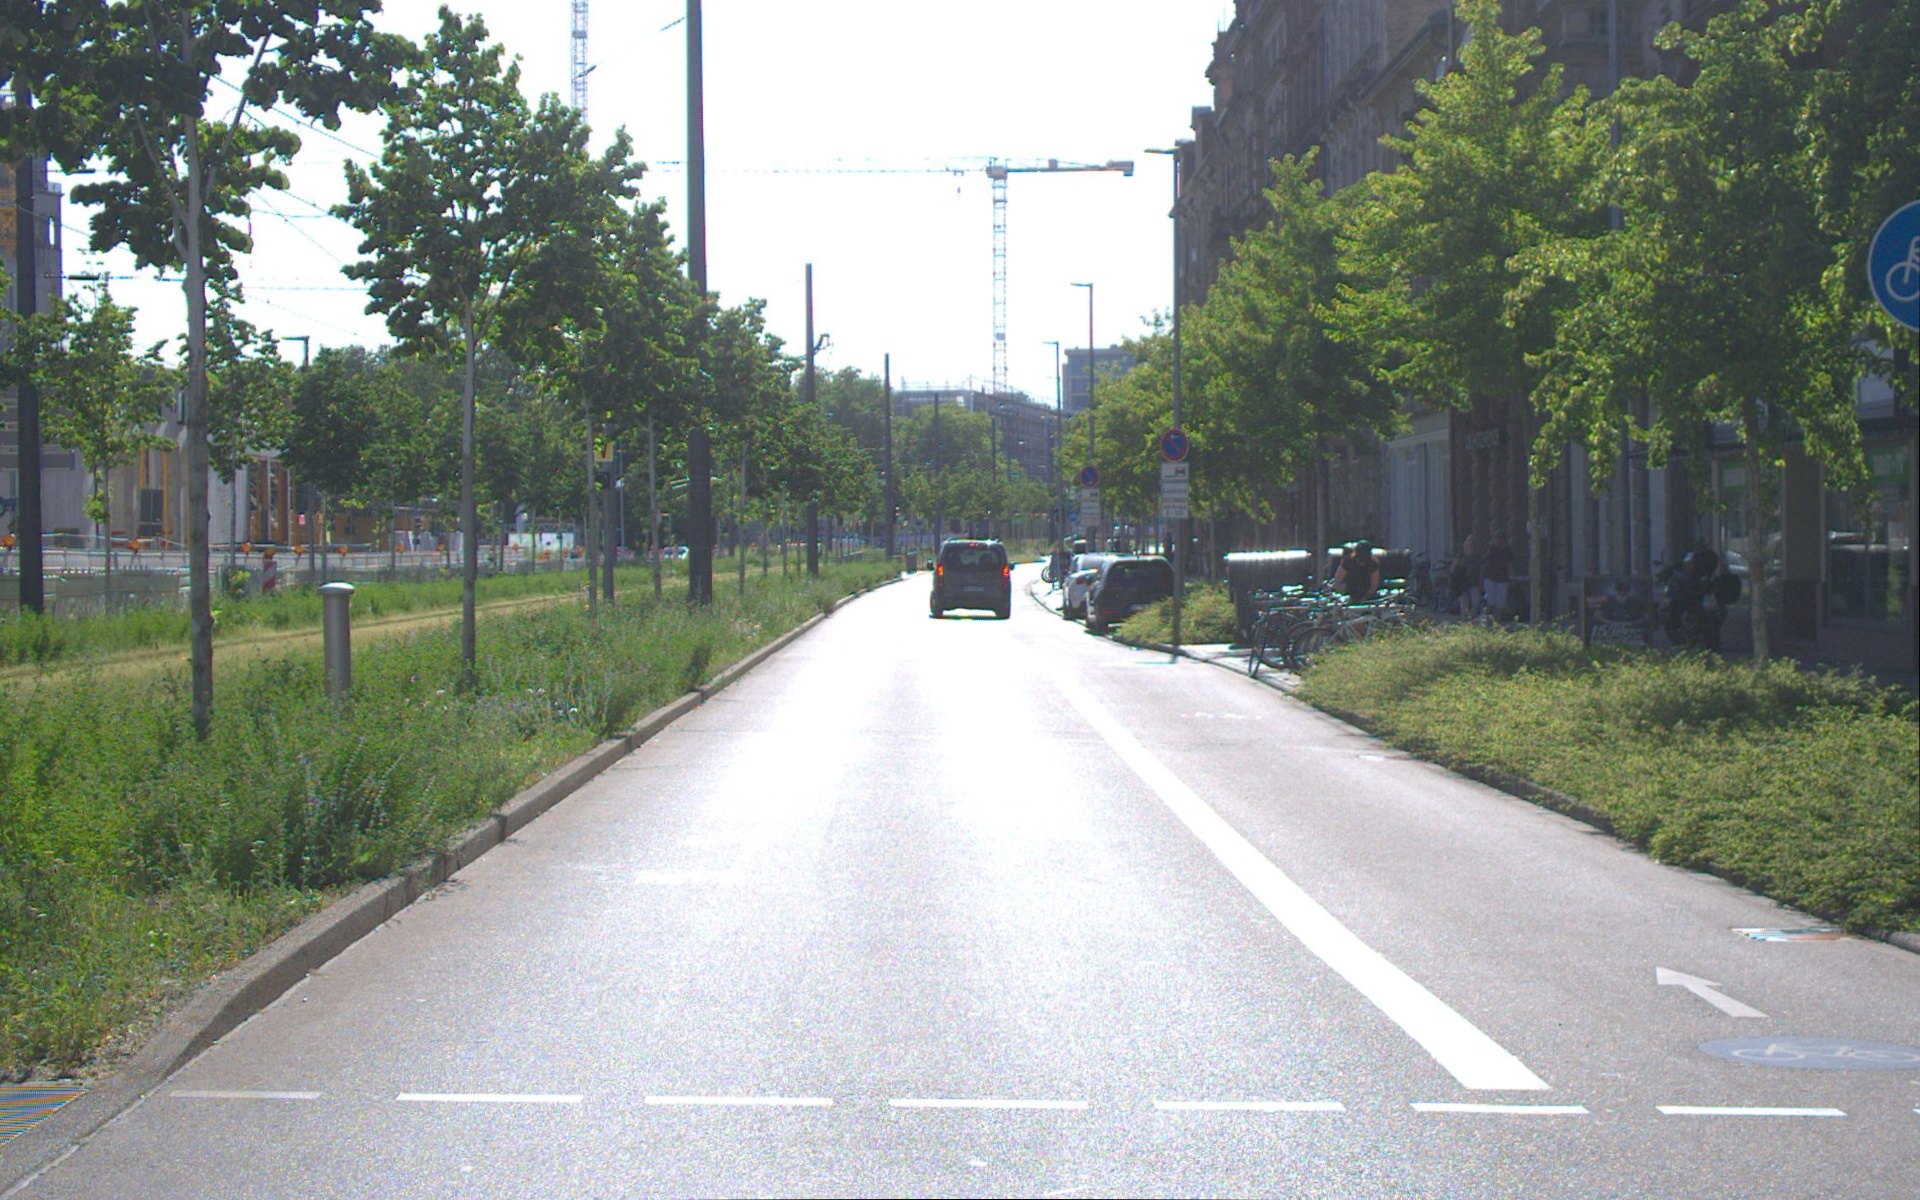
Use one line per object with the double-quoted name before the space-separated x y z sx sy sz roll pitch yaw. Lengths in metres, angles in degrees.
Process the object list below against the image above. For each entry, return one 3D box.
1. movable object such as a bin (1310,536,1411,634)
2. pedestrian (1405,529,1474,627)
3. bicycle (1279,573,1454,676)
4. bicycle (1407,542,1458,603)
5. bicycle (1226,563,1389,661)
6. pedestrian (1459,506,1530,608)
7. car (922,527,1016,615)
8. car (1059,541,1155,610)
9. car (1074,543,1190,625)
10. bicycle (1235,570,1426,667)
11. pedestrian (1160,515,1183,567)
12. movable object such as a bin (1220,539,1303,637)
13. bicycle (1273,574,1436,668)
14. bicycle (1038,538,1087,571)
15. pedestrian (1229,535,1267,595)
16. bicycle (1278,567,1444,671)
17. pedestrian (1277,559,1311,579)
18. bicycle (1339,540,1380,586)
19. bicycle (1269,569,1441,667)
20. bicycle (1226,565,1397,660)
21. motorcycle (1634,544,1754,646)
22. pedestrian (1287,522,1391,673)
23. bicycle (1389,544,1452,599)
"movable object such as a bin" 6.376 -0.242 54.844 1.373 1.490 1.749 -3 0 1
"pedestrian" 7.877 -0.374 56.502 0.950 1.561 1.080 -1 2 -1
"bicycle" 4.679 0.275 39.610 1.891 1.105 0.518 -2 1 -5
"bicycle" 9.585 -0.555 69.812 0.748 1.197 1.801 -1 0 0
"bicycle" 4.482 0.152 44.427 1.974 1.120 0.482 -4 2 -5
"pedestrian" 8.756 -0.713 56.391 0.971 1.633 0.992 -1 2 0
"car" 0.186 -0.687 80.896 1.993 2.007 4.000 1 0 -3
"car" 3.392 -0.588 80.257 1.951 1.490 5.105 -2 1 0
"car" 3.346 -0.319 67.551 1.765 1.472 4.449 -3 0 -3
"bicycle" 4.593 0.228 42.592 2.284 1.098 0.486 -2 1 -14
"pedestrian" 8.423 -2.339 136.722 0.817 2.007 1.046 1 -2 0
"movable object such as a bin" 4.780 -0.207 54.671 1.271 1.458 1.644 1 3 4
"bicycle" 4.710 0.248 41.083 1.814 1.052 0.572 -2 1 -6
"bicycle" 4.100 -1.803 137.617 1.878 1.229 0.500 -3 1 -5
"pedestrian" 8.437 -1.033 100.703 0.996 1.725 0.866 1 0 0
"bicycle" 4.655 0.213 39.964 1.866 1.175 0.374 -1 0 -3
"pedestrian" 9.792 -0.911 100.839 0.773 0.551 2.008 -1 2 0
"bicycle" 9.745 -0.905 84.009 0.721 1.086 2.198 -1 1 0
"bicycle" 4.751 0.212 41.426 1.977 1.104 0.435 -2 0 -3
"bicycle" 4.492 0.153 44.019 2.043 1.103 0.611 -3 1 -6
"motorcycle" 9.445 -0.071 44.361 0.866 1.262 2.982 1 0 -1
"pedestrian" 4.544 -0.035 41.207 0.848 1.730 0.901 -3 1 30
"bicycle" 9.743 -0.612 72.877 0.875 1.101 2.182 -3 1 -3
